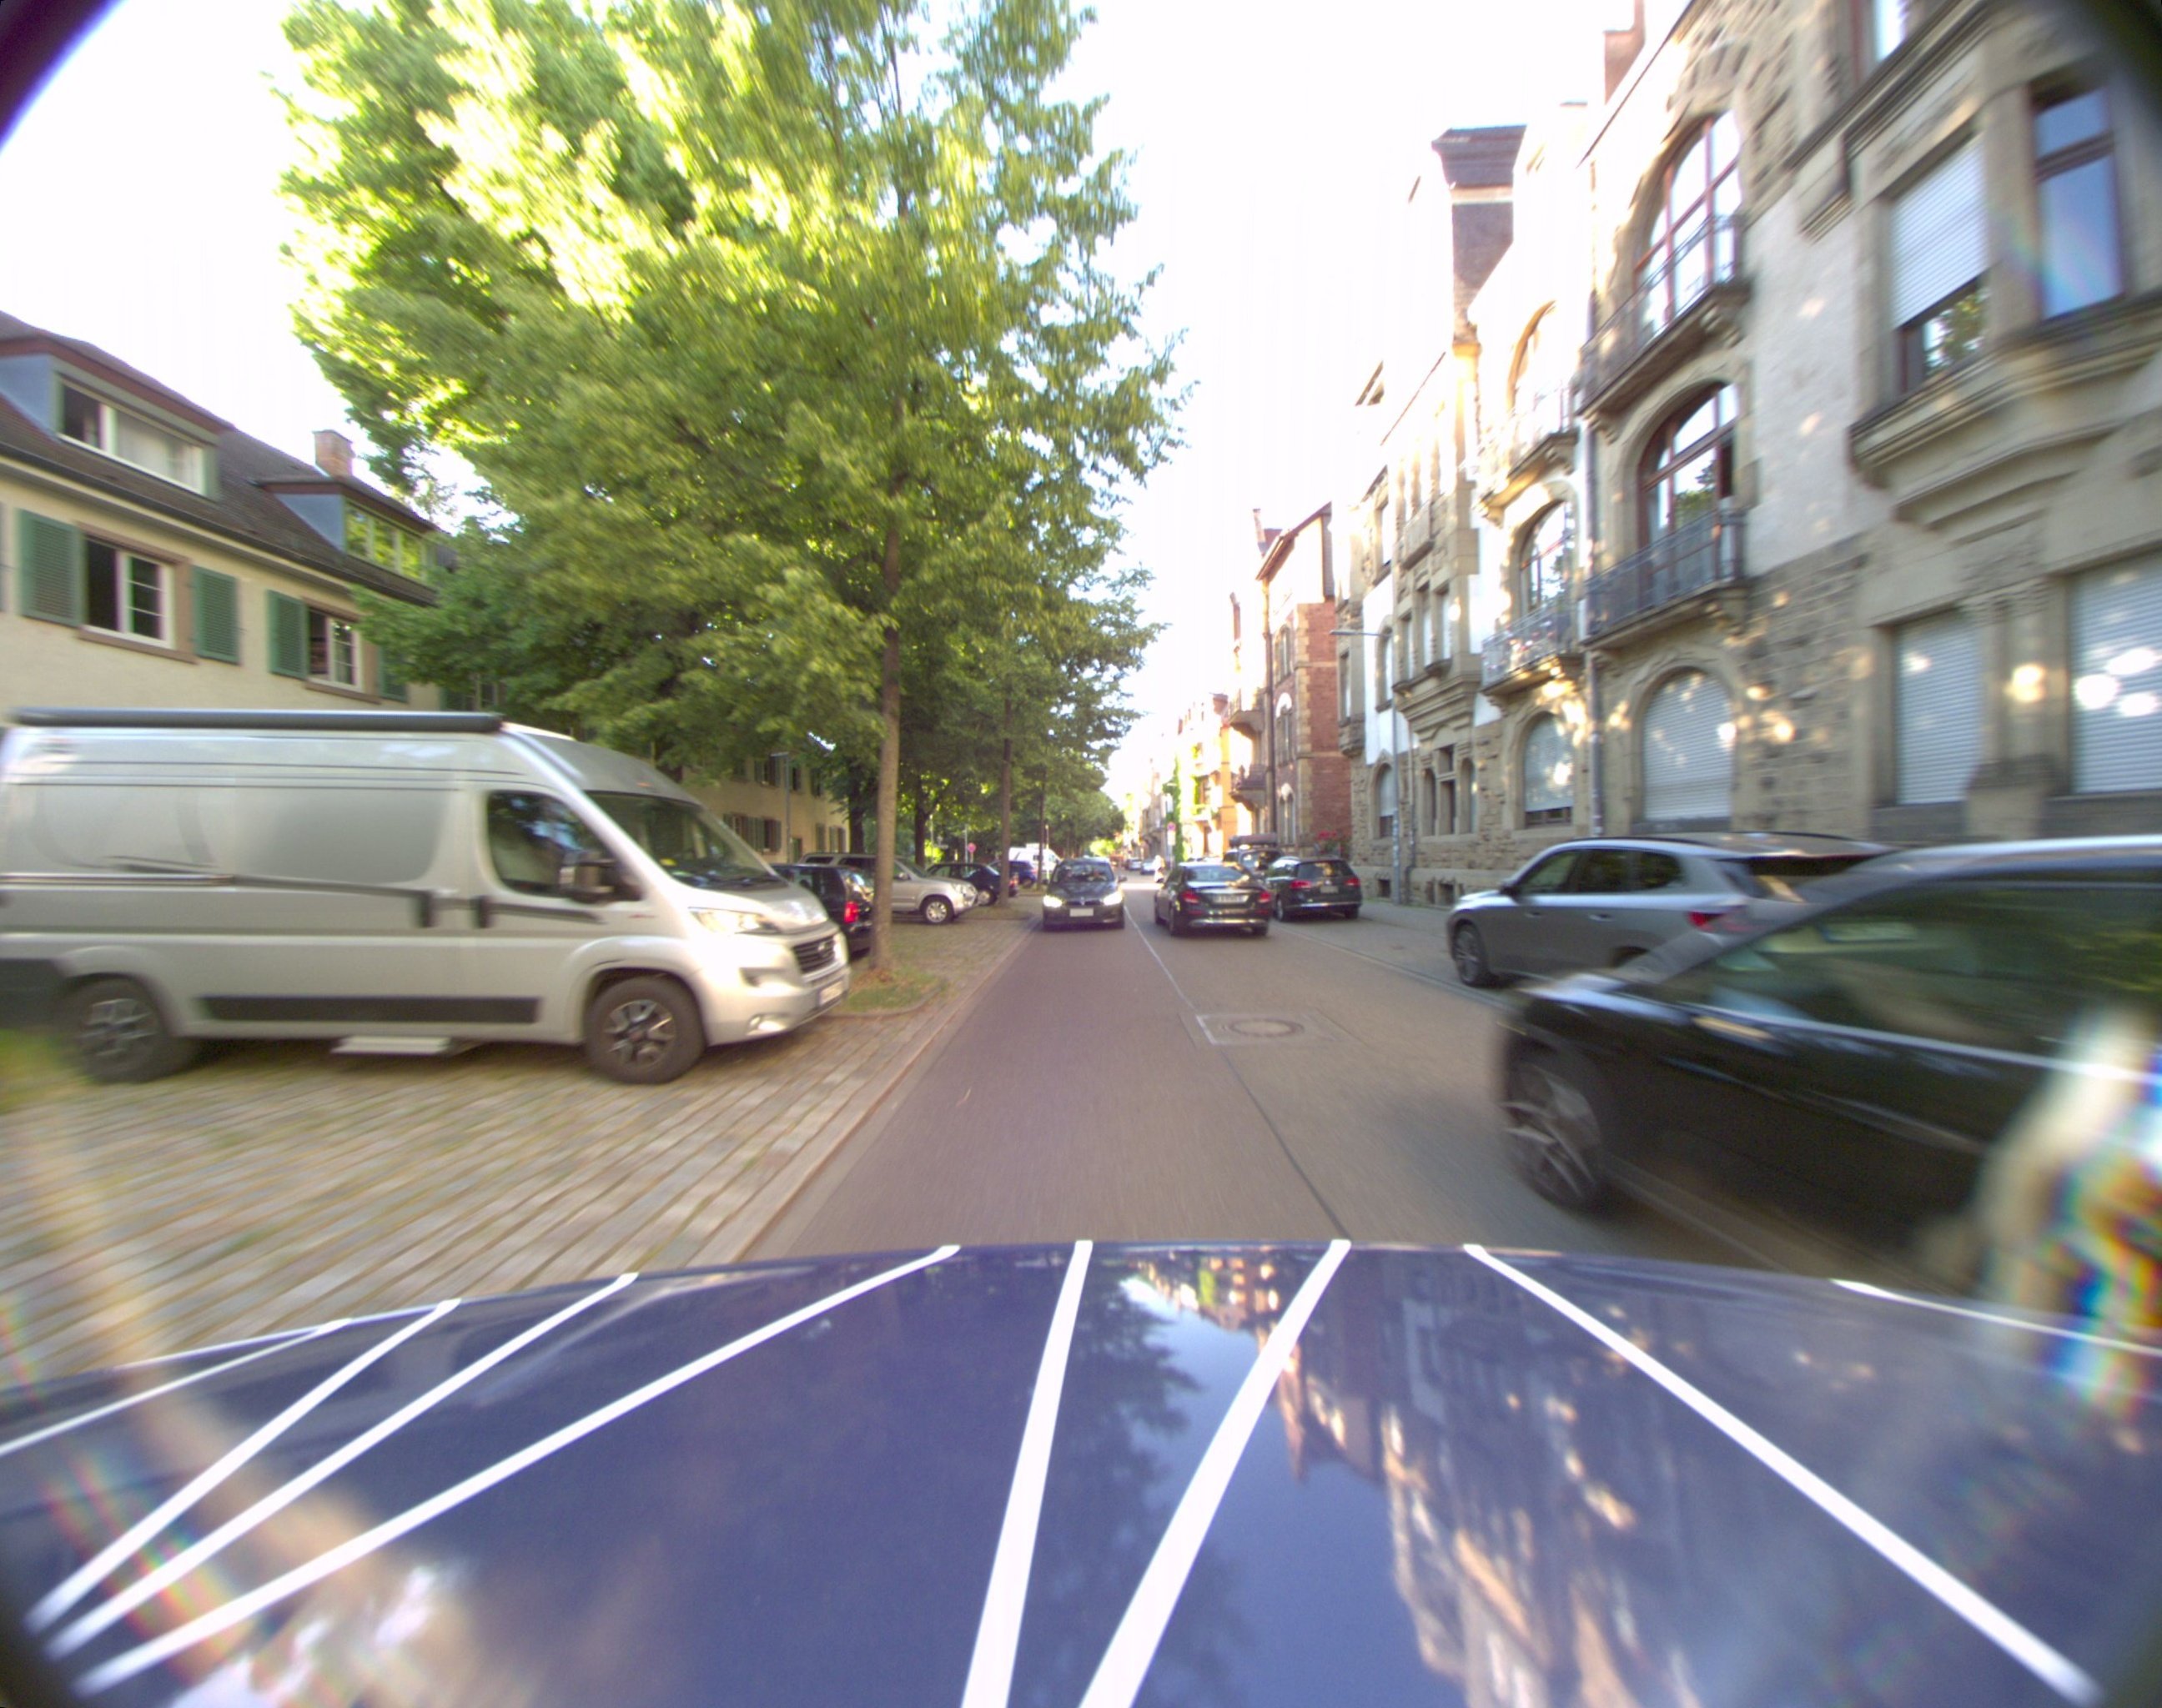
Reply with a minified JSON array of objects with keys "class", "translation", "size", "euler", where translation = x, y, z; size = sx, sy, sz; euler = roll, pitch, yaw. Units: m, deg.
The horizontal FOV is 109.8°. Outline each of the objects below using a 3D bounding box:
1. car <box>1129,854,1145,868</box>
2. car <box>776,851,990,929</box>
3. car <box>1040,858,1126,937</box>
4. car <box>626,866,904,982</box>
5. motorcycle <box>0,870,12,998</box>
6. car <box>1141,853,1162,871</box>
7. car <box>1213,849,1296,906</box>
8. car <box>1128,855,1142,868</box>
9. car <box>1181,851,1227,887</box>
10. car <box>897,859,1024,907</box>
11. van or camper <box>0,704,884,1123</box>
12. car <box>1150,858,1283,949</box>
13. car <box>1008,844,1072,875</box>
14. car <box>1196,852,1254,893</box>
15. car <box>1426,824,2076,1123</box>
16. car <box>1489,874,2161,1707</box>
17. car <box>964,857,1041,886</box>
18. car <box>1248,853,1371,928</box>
[{"class":"car","translation":[6.849,0.881,92.743],"size":[1.710,1.496,3.629],"euler":[-5,-1,2]},{"class":"car","translation":[-4.612,0.815,18.268],"size":[4.606,1.706,2.000],"euler":[1,0,-1]},{"class":"car","translation":[0.102,0.924,18.130],"size":[1.753,1.596,4.551],"euler":[-2,0,2]},{"class":"car","translation":[-4.471,0.960,11.137],"size":[3.260,1.454,1.825],"euler":[-2,0,1]},{"class":"motorcycle","translation":[-12.226,0.903,7.401],"size":[0.660,1.398,2.016],"euler":[-3,1,1]},{"class":"car","translation":[6.530,0.793,70.783],"size":[1.686,1.496,3.629],"euler":[-5,-1,2]},{"class":"car","translation":[5.614,0.698,25.096],"size":[1.774,1.658,4.212],"euler":[-2,1,1]},{"class":"car","translation":[7.138,1.006,100.778],"size":[1.710,1.496,3.629],"euler":[-5,-1,2]},{"class":"car","translation":[5.843,0.732,36.433],"size":[1.633,1.496,3.856],"euler":[-5,-1,2]},{"class":"car","translation":[-3.976,0.965,25.520],"size":[3.997,1.543,1.555],"euler":[0,0,1]},{"class":"van or camper","translation":[-4.733,0.365,5.932],"size":[5.733,2.502,2.162],"euler":[2,0,0]},{"class":"car","translation":[2.613,0.890,15.789],"size":[1.868,1.454,4.567],"euler":[-3,1,0]},{"class":"car","translation":[-3.548,0.444,66.548],"size":[5.448,2.646,2.134],"euler":[0,0,1]},{"class":"car","translation":[5.802,0.744,30.987],"size":[1.633,1.439,3.856],"euler":[-5,-1,2]},{"class":"car","translation":[4.954,0.713,6.672],"size":[1.881,1.707,4.339],"euler":[-2,0,1]},{"class":"car","translation":[2.720,0.830,1.656],"size":[1.631,1.469,3.759],"euler":[0,0,0]},{"class":"car","translation":[-4.172,0.949,40.841],"size":[3.998,1.503,1.572],"euler":[0,0,-3]},{"class":"car","translation":[5.408,0.793,18.546],"size":[1.774,1.493,4.211],"euler":[-1,1,1]}]
